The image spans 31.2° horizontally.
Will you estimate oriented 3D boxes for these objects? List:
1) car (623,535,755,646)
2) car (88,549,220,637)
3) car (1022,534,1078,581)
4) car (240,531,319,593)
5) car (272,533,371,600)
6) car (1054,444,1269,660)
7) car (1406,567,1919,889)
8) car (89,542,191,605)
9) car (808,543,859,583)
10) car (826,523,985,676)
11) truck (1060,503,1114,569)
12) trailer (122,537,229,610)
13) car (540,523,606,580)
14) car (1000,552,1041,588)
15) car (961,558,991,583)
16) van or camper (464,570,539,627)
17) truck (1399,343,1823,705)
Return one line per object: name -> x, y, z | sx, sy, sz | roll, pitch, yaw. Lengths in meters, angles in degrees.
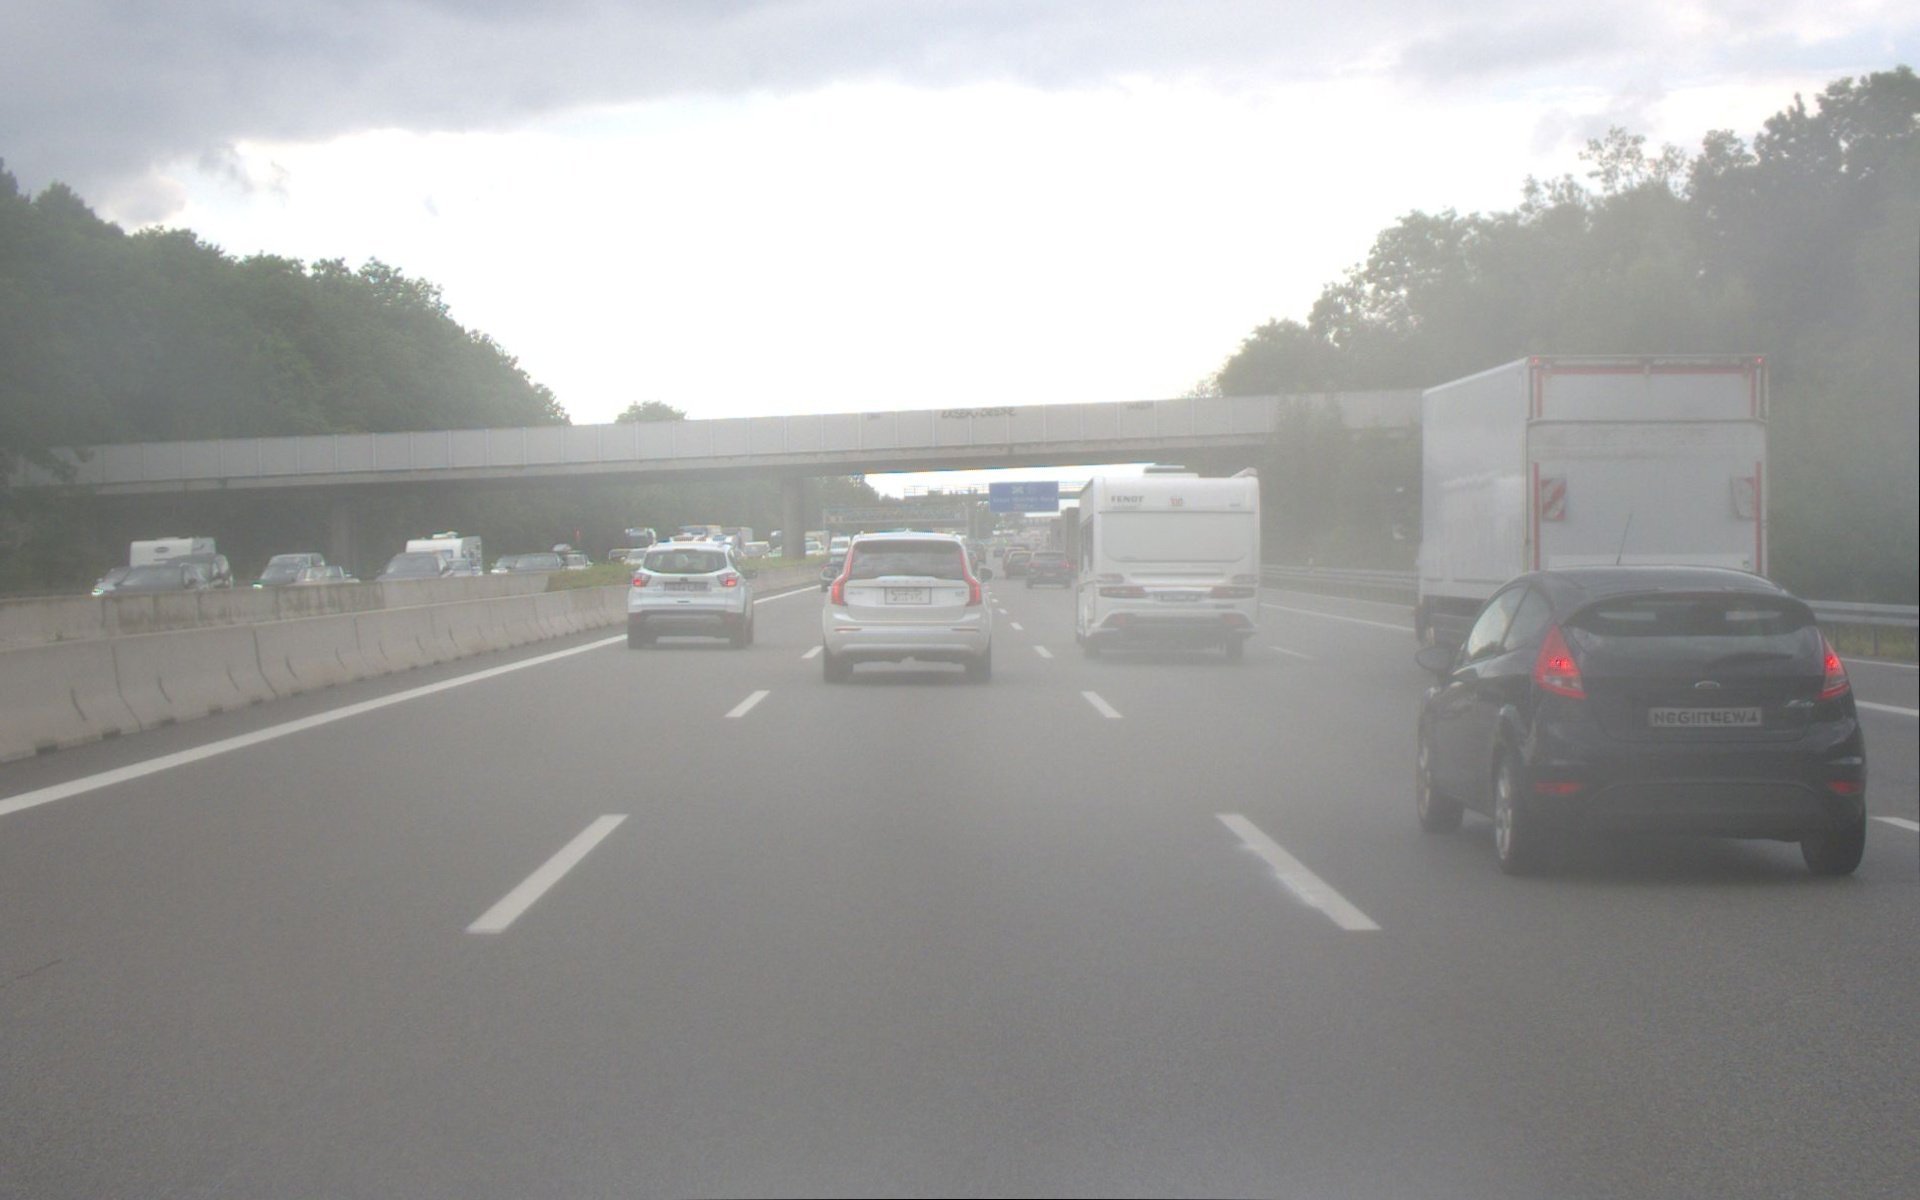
car -> -4.291, -0.196, 55.030 | 1.815, 1.684, 4.852 | 0, 1, -1
car -> -18.986, -0.187, 81.144 | 1.993, 2.007, 4.765 | 0, 1, 0
car -> 3.537, -1.689, 135.532 | 2.043, 1.817, 4.904 | 0, 1, 0
car -> -22.658, -1.282, 114.596 | 1.817, 2.007, 4.000 | 0, 1, 0
car -> -19.070, -1.003, 102.904 | 1.993, 1.945, 5.225 | 0, 1, 0
car -> 2.798, -0.695, 49.722 | 2.567, 2.885, 7.534 | 0, 1, -1
car -> 3.482, 0.548, 17.405 | 1.885, 1.402, 4.282 | 0, 1, 0
car -> -26.070, -0.865, 109.472 | 1.993, 1.945, 5.225 | 0, 1, 0
car -> -4.730, -1.401, 128.534 | 1.781, 1.476, 4.353 | 0, 1, -1
car -> -0.601, -0.035, 40.840 | 1.781, 1.710, 4.353 | 0, 1, 0
truck -> 7.507, -3.781, 203.586 | 2.906, 3.797, 7.274 | 0, 1, 0
trailer -> -26.093, -0.901, 114.530 | 2.242, 2.366, 5.784 | 0, 1, 0
car -> -15.080, -1.877, 134.258 | 1.993, 2.174, 5.289 | 0, 1, 0
car -> 3.156, -1.578, 179.537 | 2.043, 1.817, 4.904 | 0, 1, 0
car -> 1.110, -2.061, 240.171 | 1.881, 1.680, 4.001 | 0, 1, -3
van or camper -> -22.711, -0.110, 170.609 | 2.605, 2.697, 8.125 | 0, 1, 0
truck -> 7.306, -0.851, 40.179 | 3.133, 3.697, 9.848 | 0, 1, 0
